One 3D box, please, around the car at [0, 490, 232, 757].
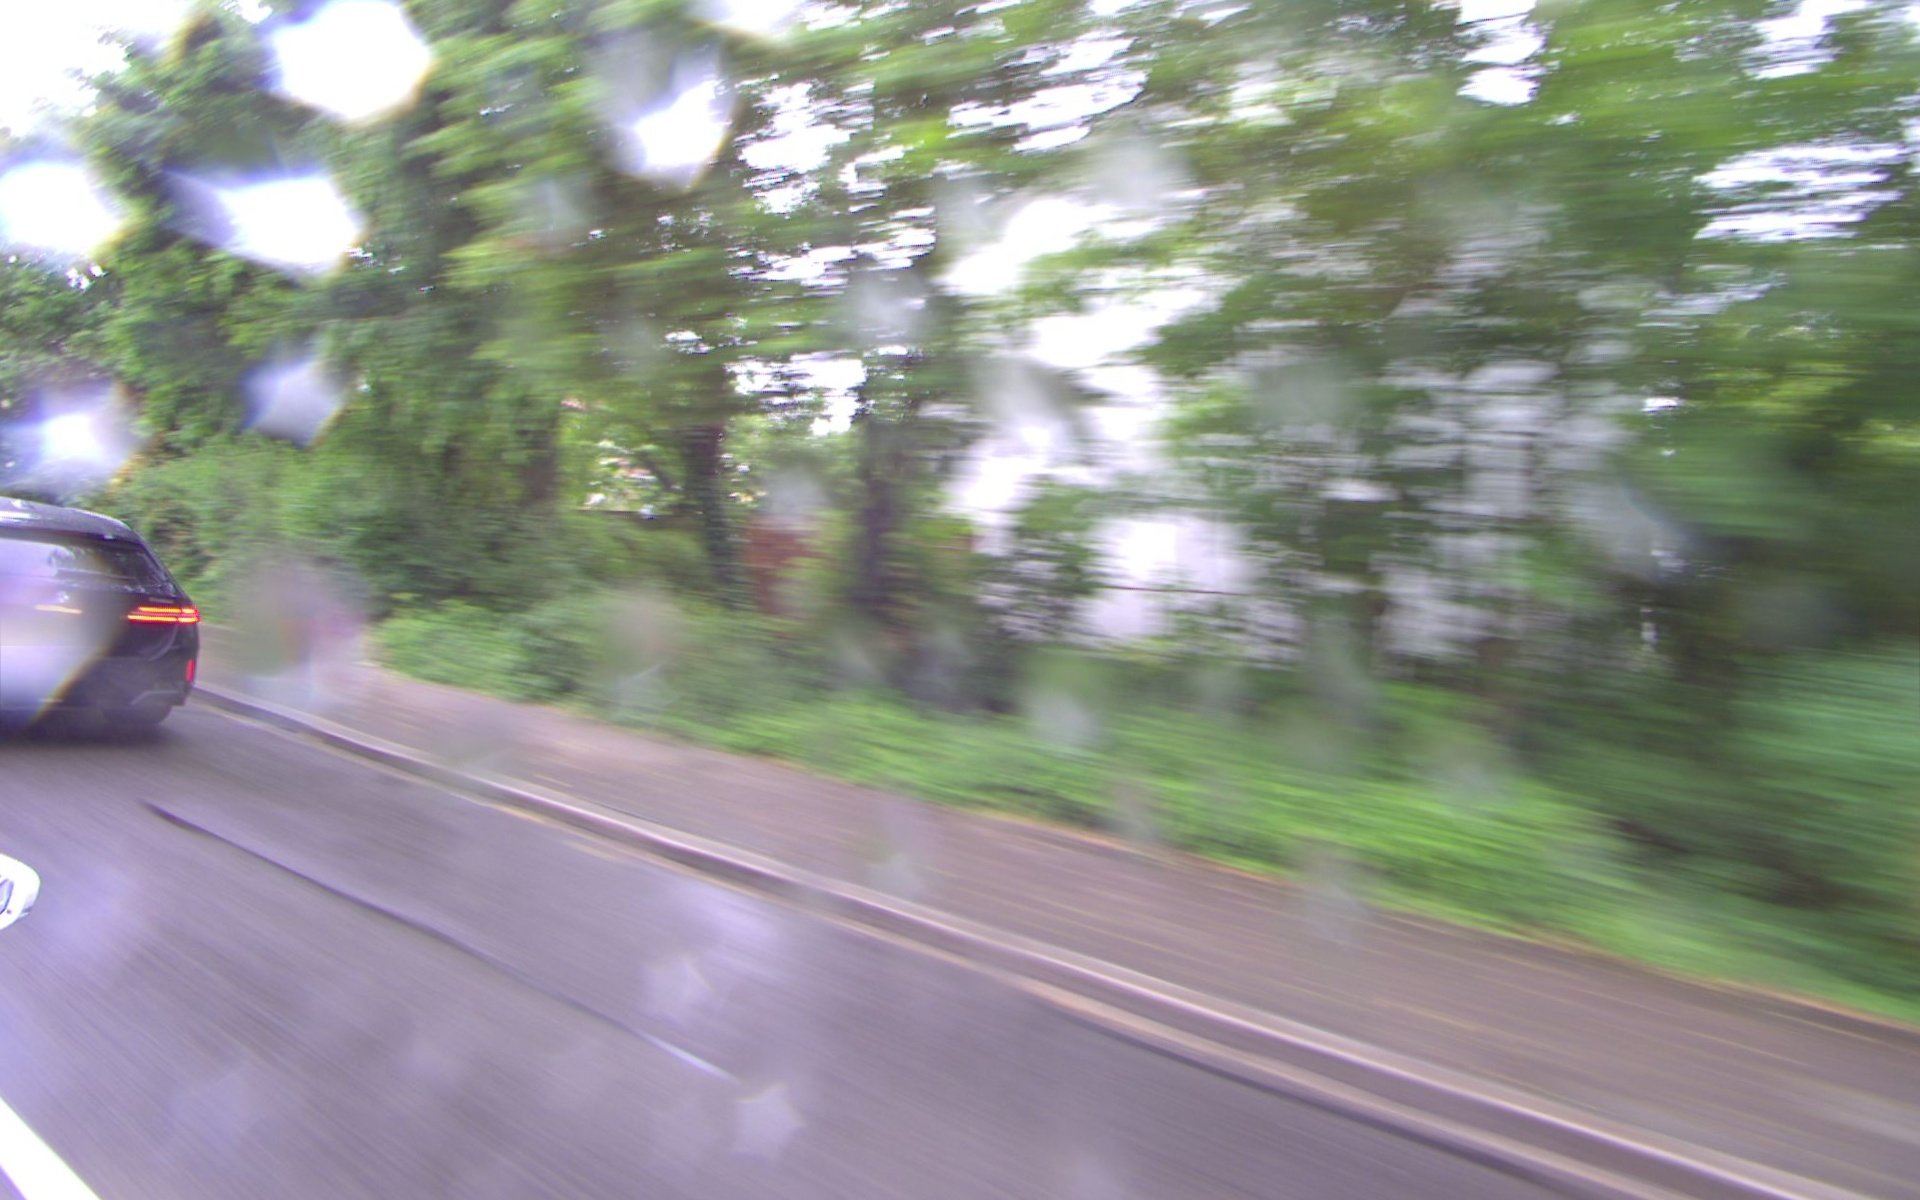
[{"bbox_3d":[-7.040,0.001,6.993,3.611,1.554,1.769,6,-2,30],"label":"car"}]
